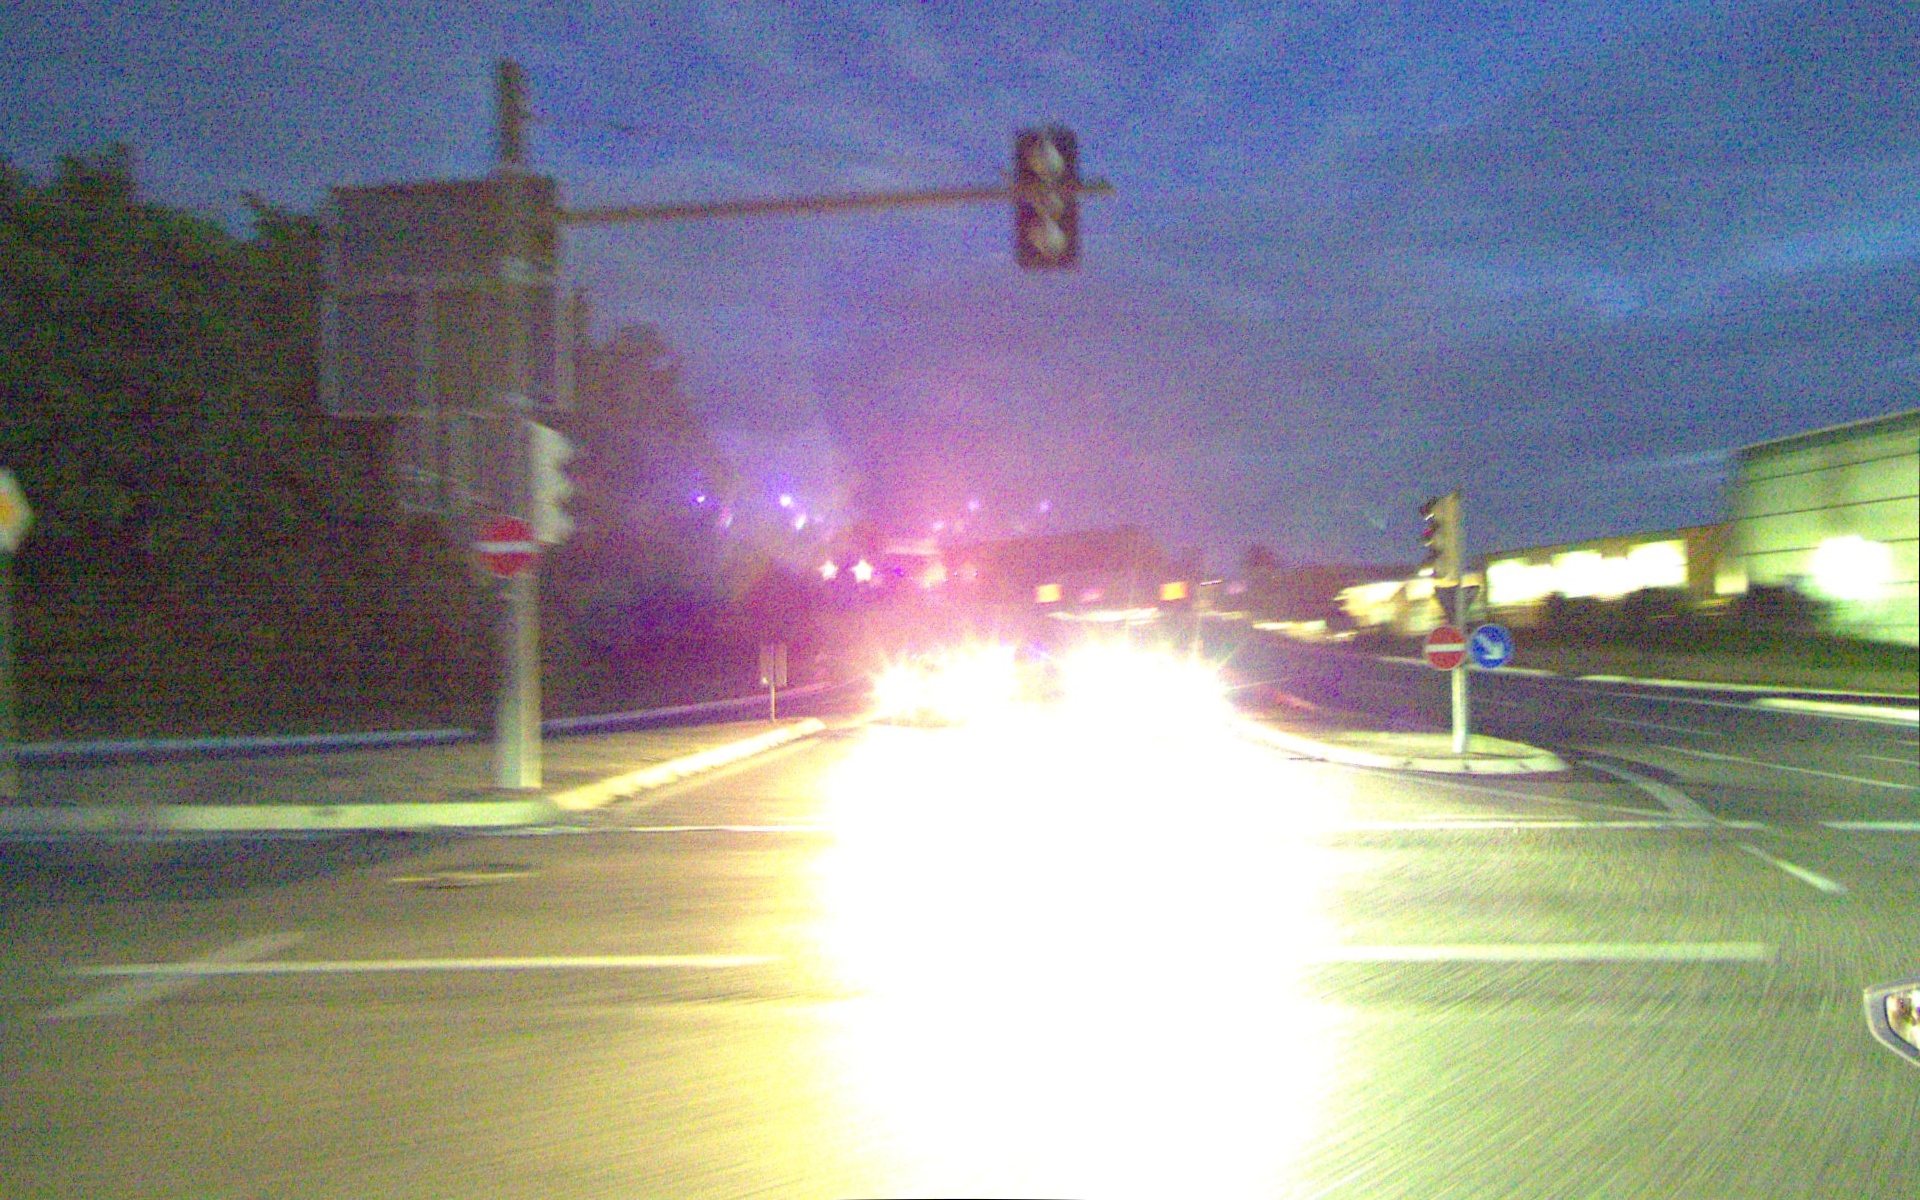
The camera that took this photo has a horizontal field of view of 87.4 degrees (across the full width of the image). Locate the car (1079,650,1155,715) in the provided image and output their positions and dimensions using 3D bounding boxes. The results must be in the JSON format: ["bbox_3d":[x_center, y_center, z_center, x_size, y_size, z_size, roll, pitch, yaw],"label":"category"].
[{"bbox_3d":[4.110,2.145,26.836,1.681,1.463,3.987,-1,-1,4],"label":"car"}]

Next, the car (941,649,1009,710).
[{"bbox_3d":[0.489,2.191,28.253,1.655,1.479,3.815,-2,-2,4],"label":"car"}]

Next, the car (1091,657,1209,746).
[{"bbox_3d":[3.483,1.839,19.027,1.670,1.494,3.873,0,-3,2],"label":"car"}]

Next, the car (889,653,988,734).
[{"bbox_3d":[-0.366,1.907,21.379,1.724,1.479,4.003,1,-2,4],"label":"car"}]

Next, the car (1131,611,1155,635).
[{"bbox_3d":[16.000,2.008,87.940,1.959,2.040,4.002,0,0,8],"label":"car"}]
